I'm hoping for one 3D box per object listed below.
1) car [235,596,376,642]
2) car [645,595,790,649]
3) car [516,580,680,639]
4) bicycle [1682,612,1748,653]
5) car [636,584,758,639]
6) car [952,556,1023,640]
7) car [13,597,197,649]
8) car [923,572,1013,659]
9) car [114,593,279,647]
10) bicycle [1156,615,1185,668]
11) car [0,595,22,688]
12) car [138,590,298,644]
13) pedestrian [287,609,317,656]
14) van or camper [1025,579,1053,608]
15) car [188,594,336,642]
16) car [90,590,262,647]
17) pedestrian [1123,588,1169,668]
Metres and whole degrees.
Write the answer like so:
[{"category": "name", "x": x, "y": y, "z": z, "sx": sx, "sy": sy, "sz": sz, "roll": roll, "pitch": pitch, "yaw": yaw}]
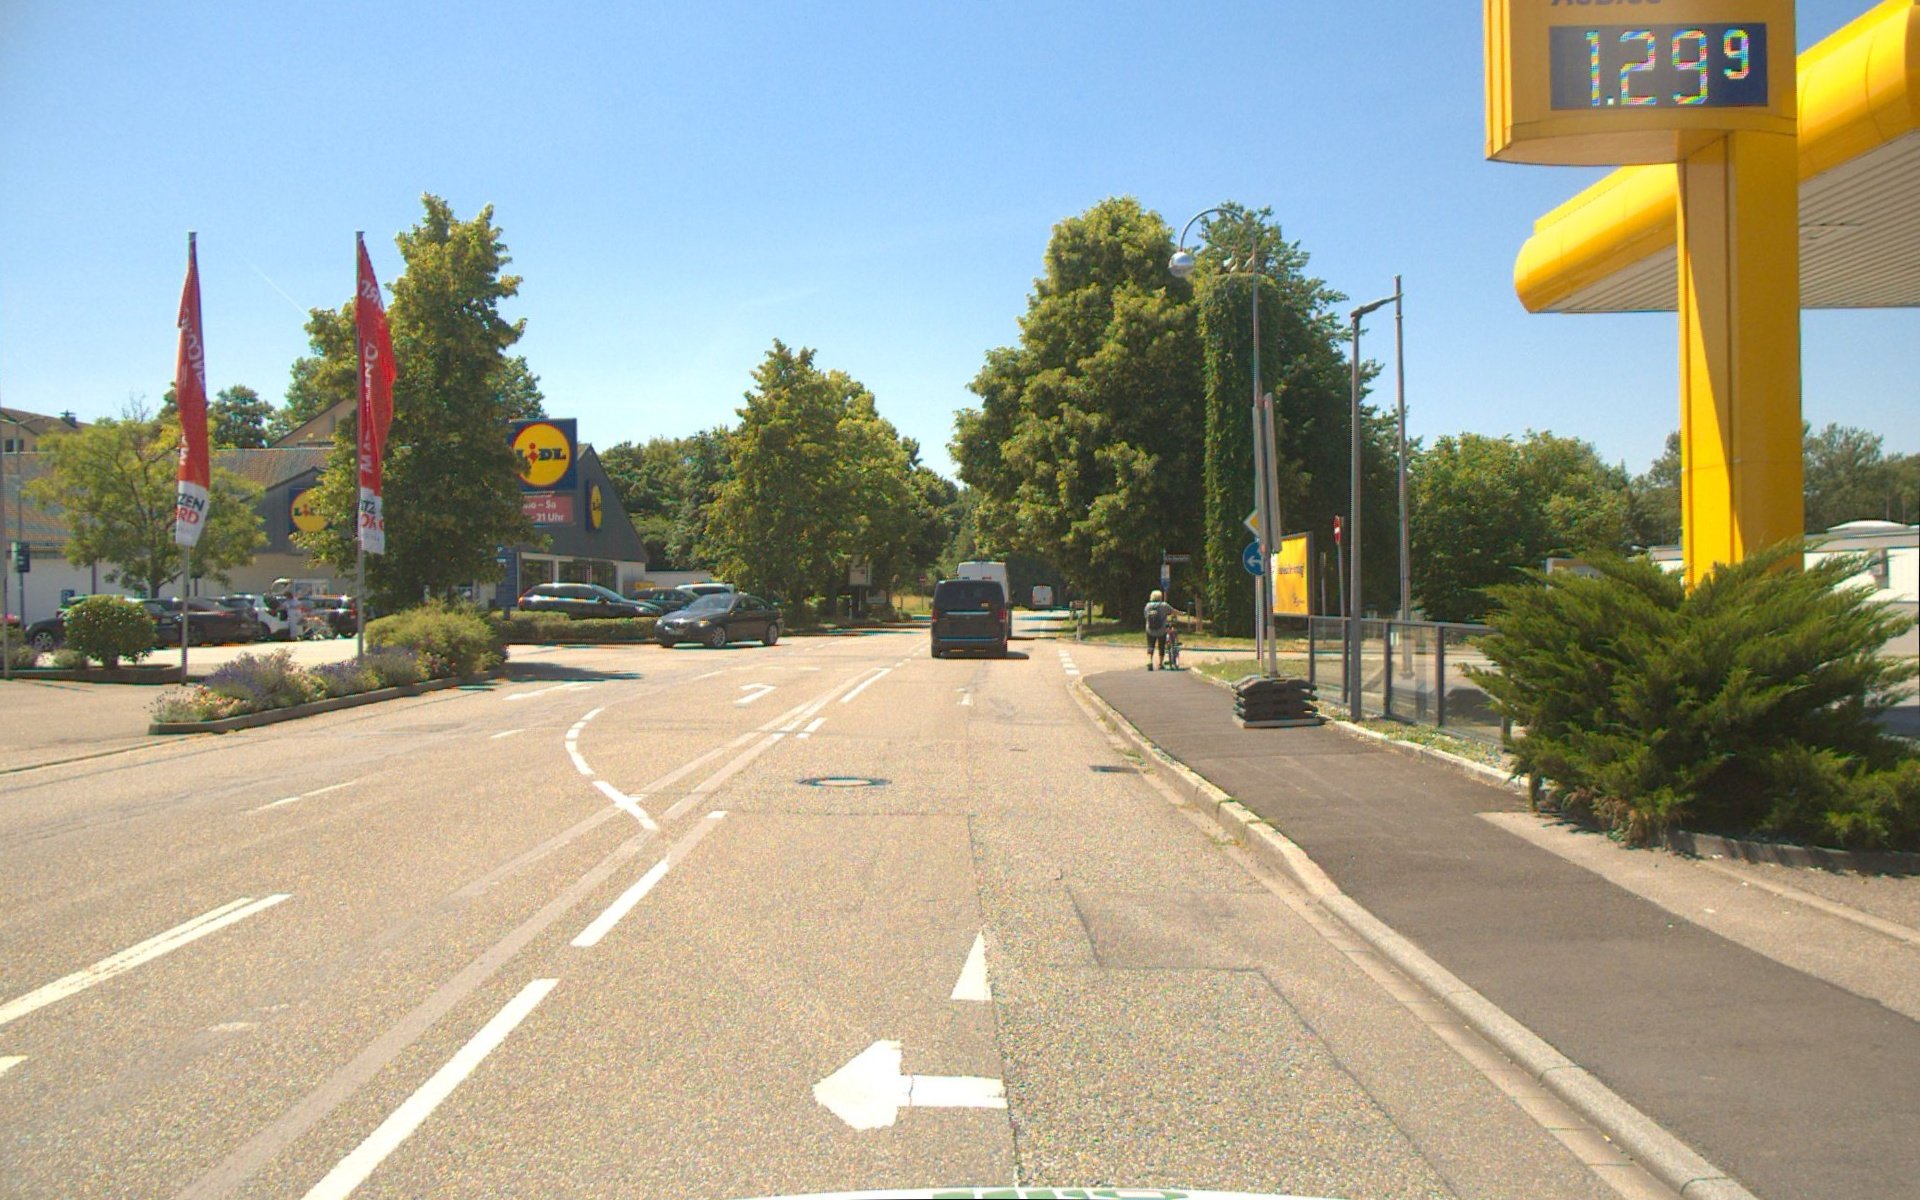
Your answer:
[{"category": "car", "x": -23.125, "y": 0.676, "z": 58.554, "sx": 4.224, "sy": 1.557, "sz": 1.827, "roll": 1, "pitch": -1, "yaw": -2}, {"category": "car", "x": -6.737, "y": 0.604, "z": 46.442, "sx": 1.893, "sy": 1.425, "sz": 4.688, "roll": 0, "pitch": -1, "yaw": 22}, {"category": "car", "x": -11.447, "y": 0.315, "z": 52.476, "sx": 4.608, "sy": 1.793, "sz": 2.100, "roll": 1, "pitch": -1, "yaw": 7}, {"category": "bicycle", "x": 21.276, "y": 0.913, "z": 46.618, "sx": 1.657, "sy": 1.117, "sz": 0.468, "roll": 0, "pitch": -1, "yaw": 4}, {"category": "car", "x": -9.934, "y": 0.434, "z": 62.676, "sx": 4.267, "sy": 2.015, "sz": 1.905, "roll": 1, "pitch": -1, "yaw": 0}, {"category": "car", "x": 1.006, "y": -0.046, "z": 57.485, "sx": 2.034, "sy": 2.750, "sz": 4.669, "roll": 2, "pitch": 0, "yaw": 5}, {"category": "car", "x": -23.731, "y": 0.628, "z": 46.012, "sx": 4.154, "sy": 1.393, "sz": 1.767, "roll": 0, "pitch": -1, "yaw": -6}, {"category": "car", "x": 0.259, "y": 0.376, "z": 41.232, "sx": 1.952, "sy": 1.987, "sz": 5.007, "roll": 2, "pitch": 0, "yaw": 3}, {"category": "car", "x": -23.594, "y": 0.619, "z": 51.234, "sx": 4.229, "sy": 1.634, "sz": 1.910, "roll": 0, "pitch": -1, "yaw": -6}, {"category": "bicycle", "x": 3.868, "y": 0.755, "z": 30.324, "sx": 0.370, "sy": 0.928, "sz": 1.599, "roll": 0, "pitch": 0, "yaw": 13}, {"category": "car", "x": -17.308, "y": 0.655, "z": 26.149, "sx": 4.095, "sy": 1.472, "sz": 1.981, "roll": 0, "pitch": 0, "yaw": 15}, {"category": "car", "x": -24.182, "y": 0.570, "z": 54.020, "sx": 4.224, "sy": 1.684, "sz": 2.113, "roll": 1, "pitch": -1, "yaw": -1}, {"category": "pedestrian", "x": -21.491, "y": 1.057, "z": 53.995, "sx": 0.875, "sy": 1.509, "sz": 0.803, "roll": 1, "pitch": -1, "yaw": -22}, {"category": "van or camper", "x": 8.385, "y": -0.650, "z": 175.157, "sx": 2.578, "sy": 2.980, "sz": 5.205, "roll": 1, "pitch": -1, "yaw": -1}, {"category": "car", "x": -23.759, "y": 0.623, "z": 56.384, "sx": 4.224, "sy": 1.557, "sz": 1.827, "roll": 1, "pitch": -1, "yaw": -2}, {"category": "car", "x": -22.966, "y": 0.535, "z": 48.572, "sx": 4.154, "sy": 1.617, "sz": 1.767, "roll": 0, "pitch": -1, "yaw": -6}, {"category": "pedestrian", "x": 3.435, "y": 0.504, "z": 30.538, "sx": 0.752, "sy": 1.446, "sz": 0.868, "roll": 0, "pitch": 0, "yaw": 13}]
